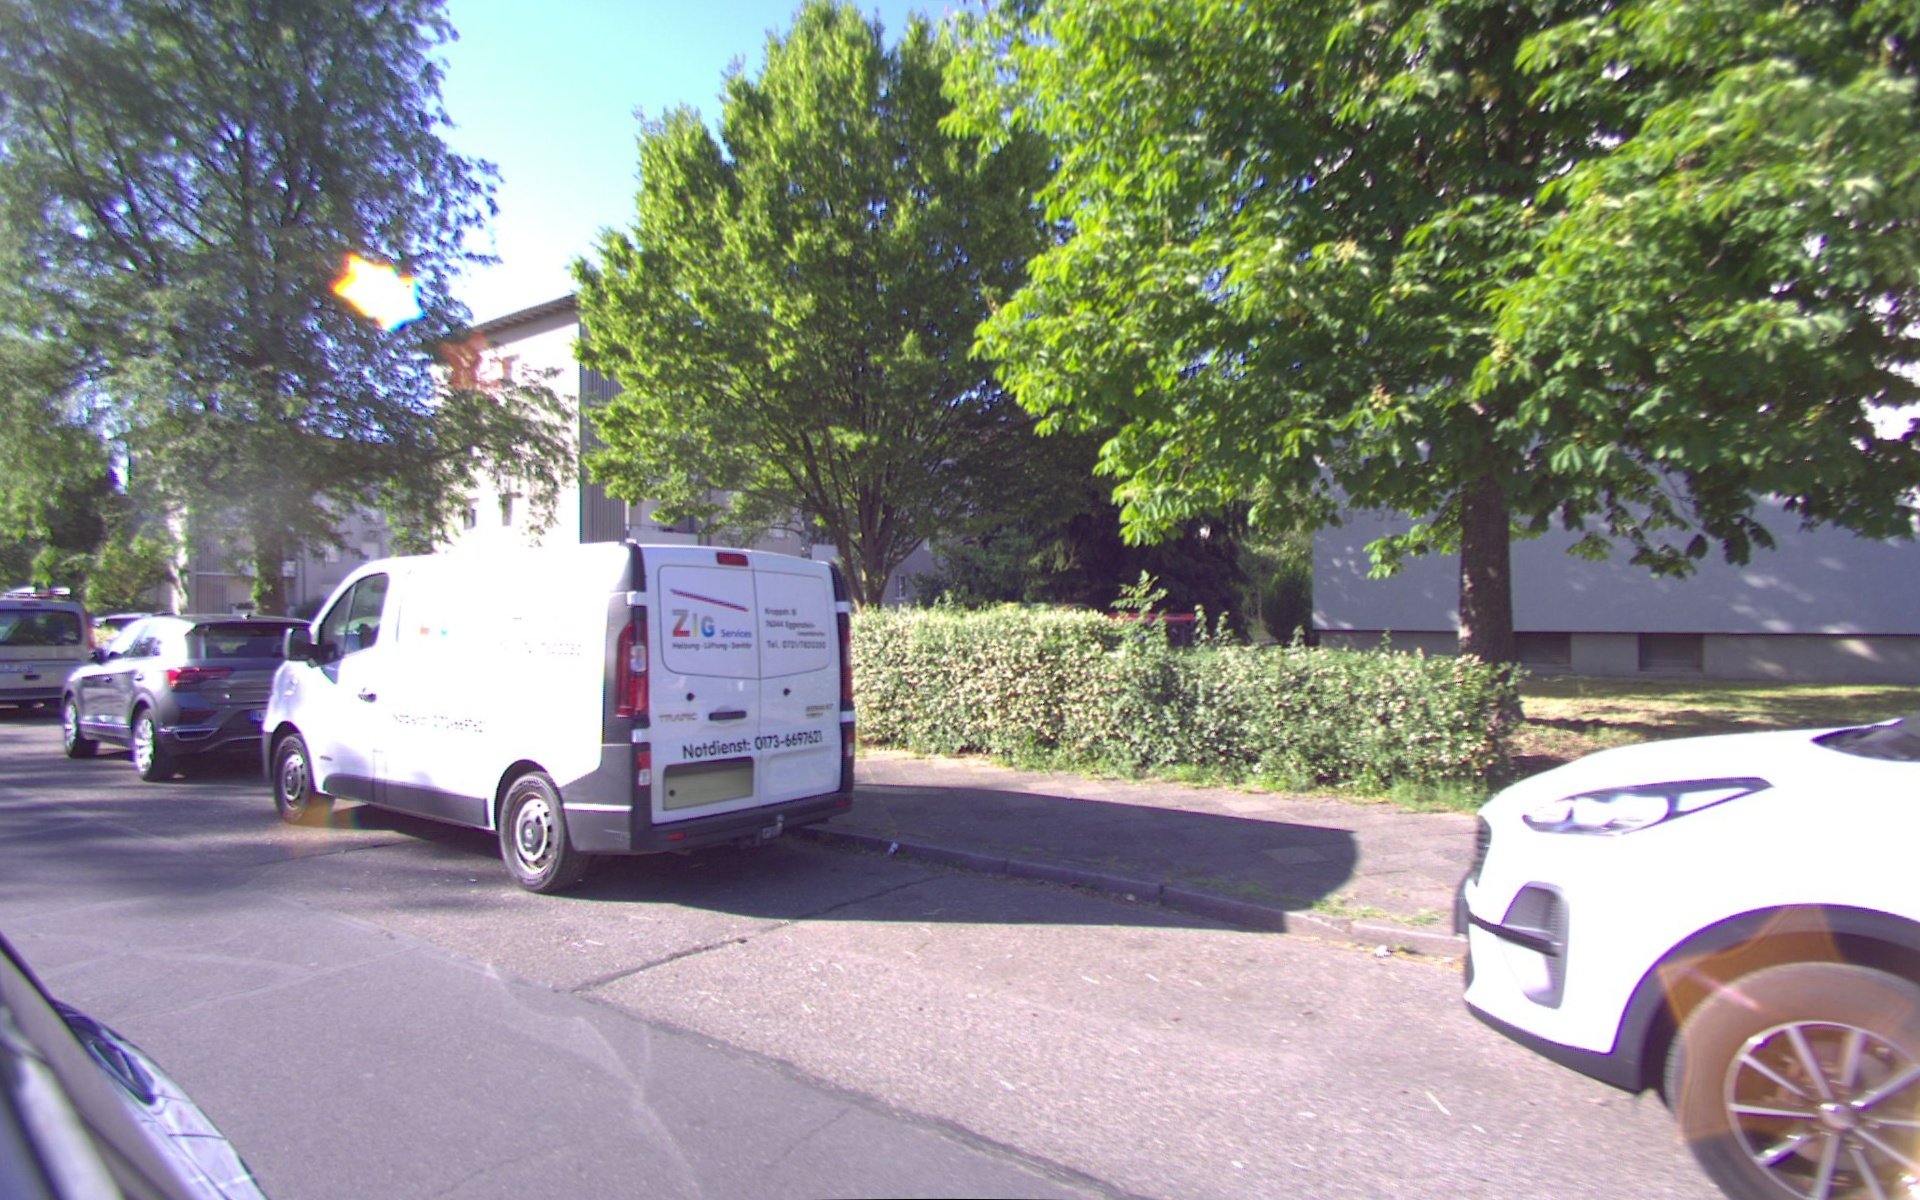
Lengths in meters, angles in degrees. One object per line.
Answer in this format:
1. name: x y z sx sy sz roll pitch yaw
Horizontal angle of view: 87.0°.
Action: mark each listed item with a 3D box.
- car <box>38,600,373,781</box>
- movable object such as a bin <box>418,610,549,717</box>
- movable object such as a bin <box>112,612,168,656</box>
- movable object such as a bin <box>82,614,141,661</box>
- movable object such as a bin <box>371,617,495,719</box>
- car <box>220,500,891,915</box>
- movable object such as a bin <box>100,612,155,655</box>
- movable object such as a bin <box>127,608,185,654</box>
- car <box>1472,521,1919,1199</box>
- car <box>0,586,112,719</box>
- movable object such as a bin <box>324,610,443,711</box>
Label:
1. car: -8.008 0.830 10.627 4.132 1.545 1.730 -1 -2 37
2. movable object such as a bin: -6.649 0.849 14.130 1.358 1.366 1.092 -1 1 35
3. movable object such as a bin: -28.371 1.151 35.019 1.460 1.431 1.167 -1 1 37
4. movable object such as a bin: -27.418 1.191 32.704 1.358 1.431 1.124 -1 1 36
5. movable object such as a bin: -7.804 0.971 14.989 1.358 1.381 1.092 -1 1 35
6. car: -3.048 0.570 7.084 5.076 1.977 1.898 -1 -2 35
7. movable object such as a bin: -29.578 1.183 35.944 1.460 1.431 1.167 -1 1 37
8. movable object such as a bin: -27.065 1.031 34.060 1.460 1.431 1.167 -1 1 37
9. car: 3.660 0.677 2.254 4.364 1.682 1.733 -1 -2 32
10. car: -15.379 0.788 15.975 4.405 1.907 1.839 -1 -2 33
11. movable object such as a bin: -8.965 0.910 15.741 1.358 1.431 1.092 -1 1 35
